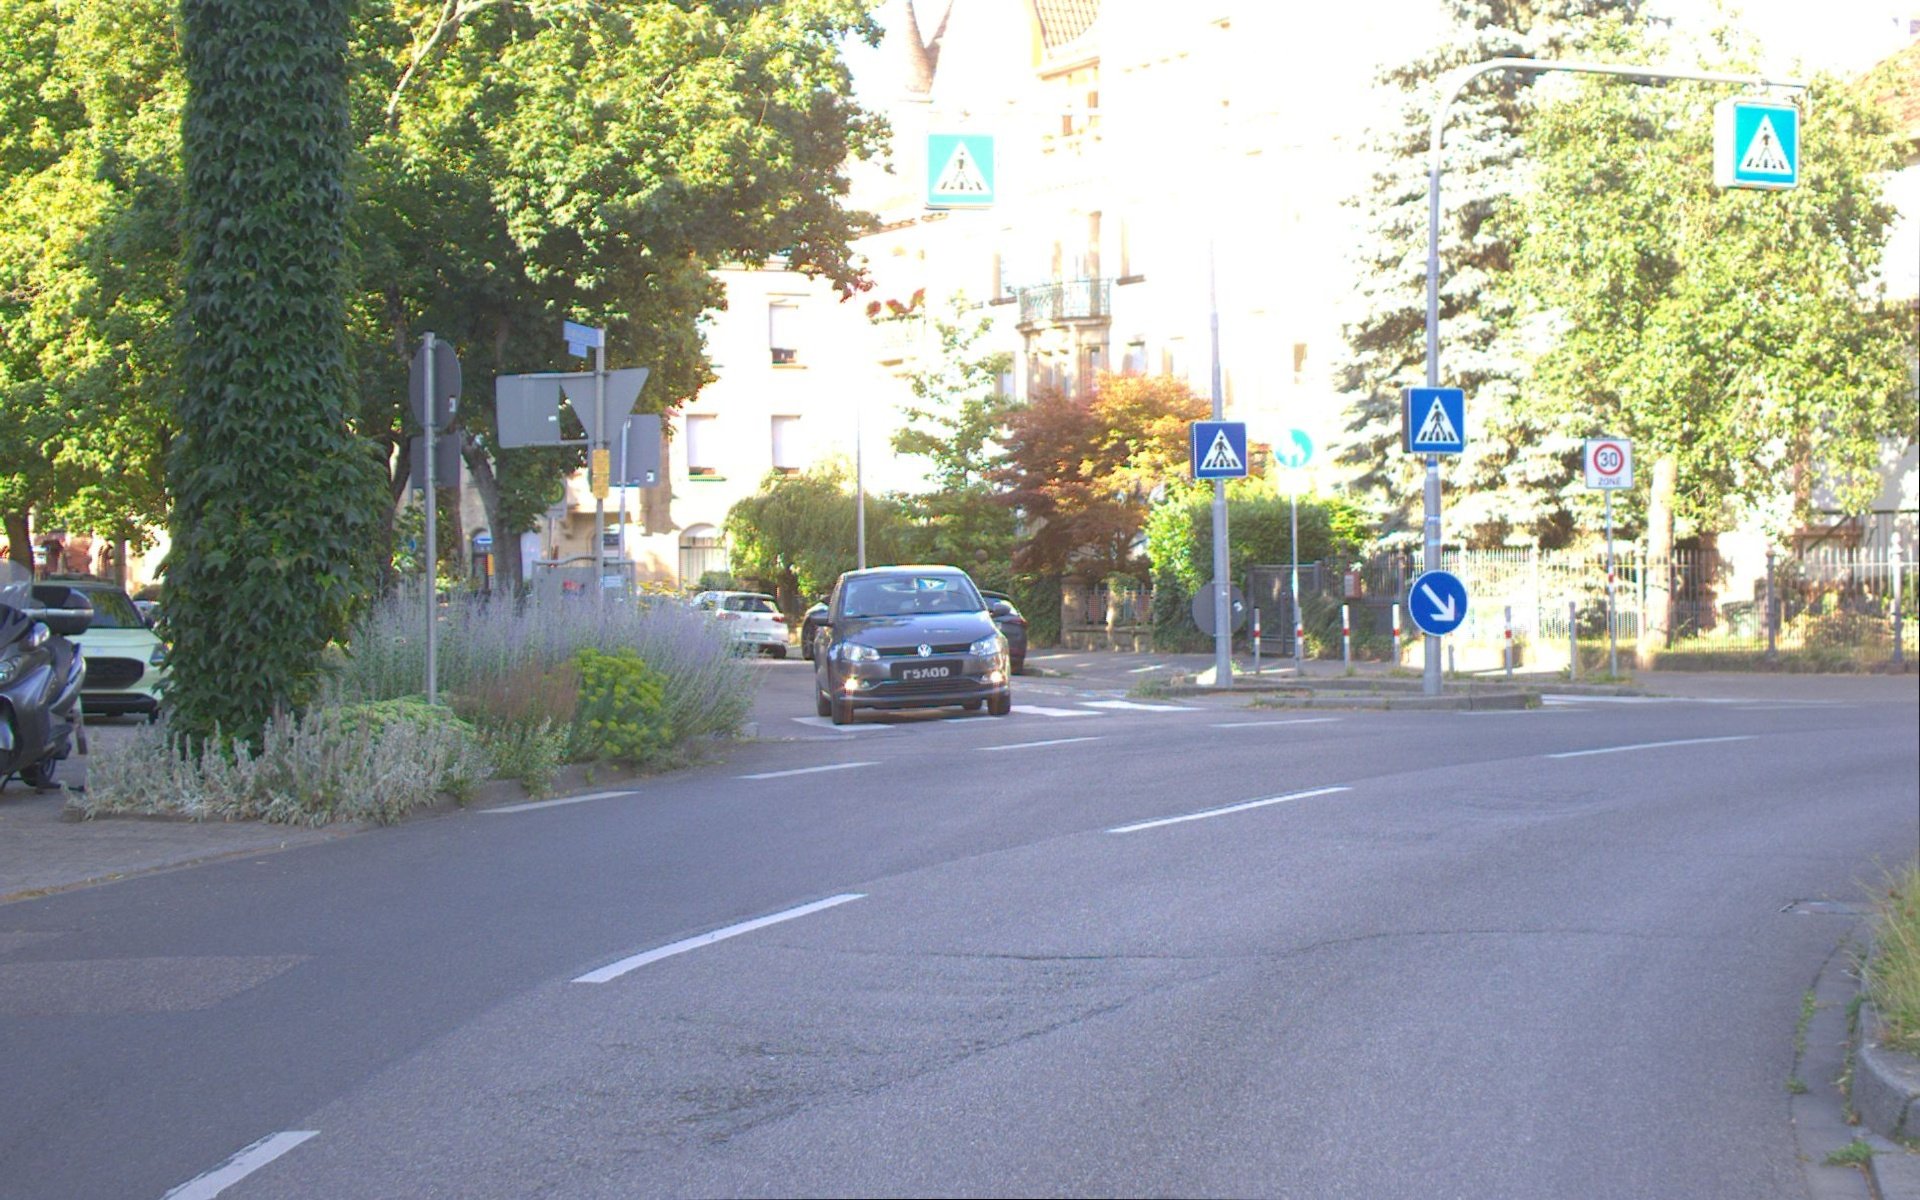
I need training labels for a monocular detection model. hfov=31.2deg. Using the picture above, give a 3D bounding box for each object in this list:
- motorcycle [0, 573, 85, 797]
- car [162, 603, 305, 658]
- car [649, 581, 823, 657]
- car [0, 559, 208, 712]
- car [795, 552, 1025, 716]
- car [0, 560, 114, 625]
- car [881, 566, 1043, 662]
[{"bbox_3d":[-6.123,0.515,21.998,0.930,1.353,2.565,1,0,-13],"label":"motorcycle"},{"bbox_3d":[-21.493,0.888,101.578,2.340,1.590,4.928,1,0,-36],"label":"car"},{"bbox_3d":[-4.902,0.409,74.535,2.339,1.590,4.930,1,0,-22],"label":"car"},{"bbox_3d":[-9.329,0.361,36.590,1.807,1.531,3.911,1,0,-24],"label":"car"},{"bbox_3d":[-0.529,0.297,32.595,1.712,1.398,3.739,-2,0,-7],"label":"car"},{"bbox_3d":[-29.443,-0.234,111.197,2.340,2.034,4.928,1,0,-36],"label":"car"},{"bbox_3d":[-0.006,0.239,59.210,1.993,1.590,4.001,1,0,-12],"label":"car"}]
